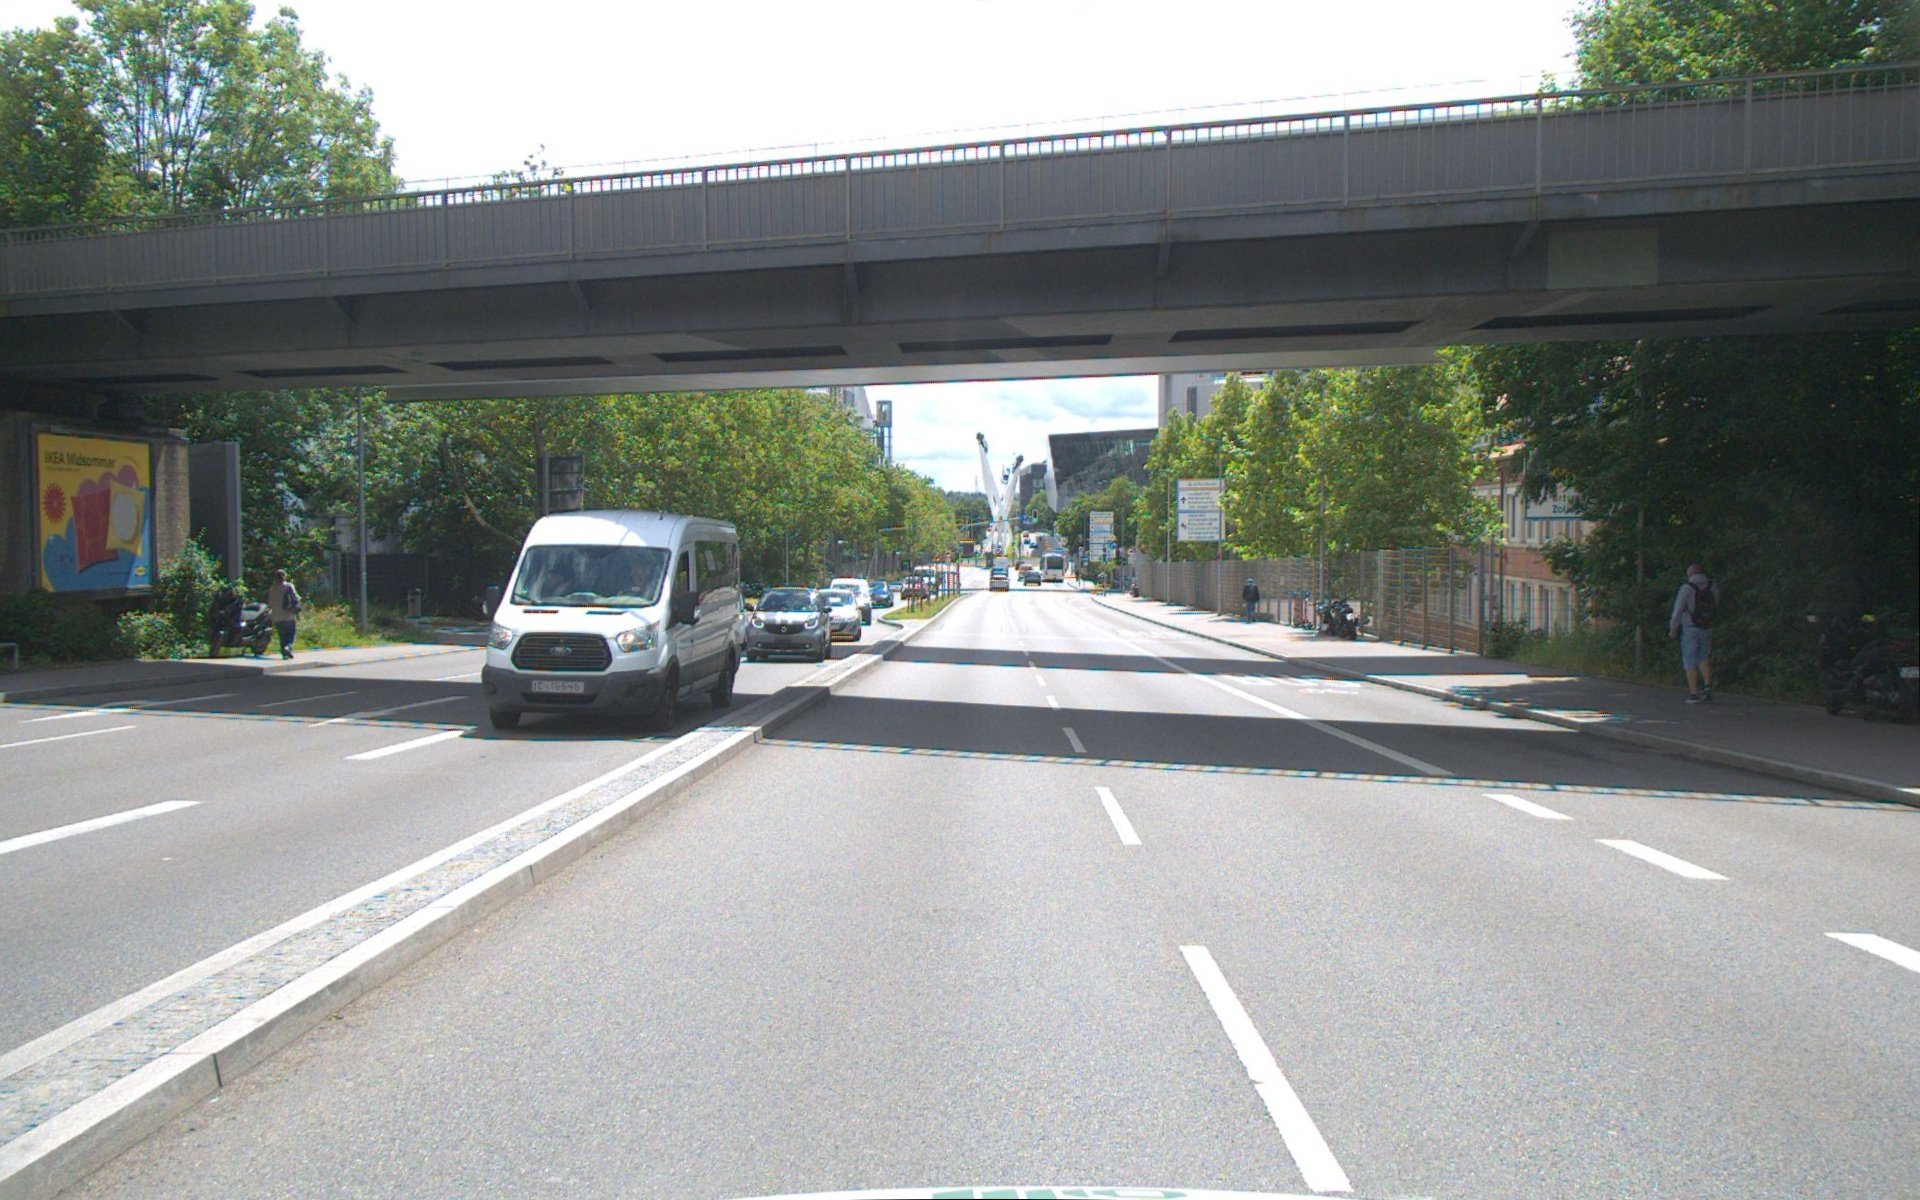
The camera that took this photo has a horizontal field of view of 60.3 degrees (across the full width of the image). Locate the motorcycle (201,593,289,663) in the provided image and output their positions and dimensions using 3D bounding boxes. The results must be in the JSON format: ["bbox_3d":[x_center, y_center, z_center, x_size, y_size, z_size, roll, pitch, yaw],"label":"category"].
[{"bbox_3d":[-13.178,0.533,30.552,0.673,1.231,2.072,2,-2,0],"label":"motorcycle"}]

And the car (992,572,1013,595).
[{"bbox_3d":[3.881,-1.508,152.002,1.889,1.802,4.003,0,4,2],"label":"car"}]

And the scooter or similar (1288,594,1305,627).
[{"bbox_3d":[12.142,0.381,59.720,0.361,1.197,1.133,0,0,0],"label":"scooter or similar"}]

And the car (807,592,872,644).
[{"bbox_3d":[-3.522,0.489,48.917,1.666,1.461,3.924,0,0,0],"label":"car"}]

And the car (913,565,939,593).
[{"bbox_3d":[-2.832,-1.736,139.807,1.952,2.295,4.327,0,0,2],"label":"car"}]

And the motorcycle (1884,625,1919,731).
[{"bbox_3d":[10.630,0.846,17.479,0.536,1.130,2.017,0,0,-2],"label":"motorcycle"}]

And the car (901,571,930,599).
[{"bbox_3d":[-3.298,-1.131,122.147,1.952,2.049,4.001,0,0,1],"label":"car"}]

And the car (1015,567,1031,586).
[{"bbox_3d":[7.916,-2.946,206.854,1.952,2.048,4.003,0,4,1],"label":"car"}]

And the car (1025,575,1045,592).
[{"bbox_3d":[8.296,-1.863,183.402,1.953,1.892,4.000,0,0,0],"label":"car"}]

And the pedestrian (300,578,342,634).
[{"bbox_3d":[-23.393,0.216,60.562,0.988,2.049,1.168,0,0,9],"label":"pedestrian"}]

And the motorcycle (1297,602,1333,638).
[{"bbox_3d":[11.332,0.624,52.875,0.552,1.047,2.629,-1,1,0],"label":"motorcycle"}]

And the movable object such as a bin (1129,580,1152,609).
[{"bbox_3d":[13.468,-0.415,123.467,1.629,2.170,1.279,0,0,6],"label":"movable object such as a bin"}]

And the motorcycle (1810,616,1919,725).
[{"bbox_3d":[10.870,0.803,19.607,0.536,1.219,1.902,0,0,-2],"label":"motorcycle"}]

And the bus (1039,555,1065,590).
[{"bbox_3d":[11.392,-3.480,205.948,2.739,3.816,9.474,0,4,0],"label":"bus"}]

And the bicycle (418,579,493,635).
[{"bbox_3d":[-19.938,0.247,65.386,2.704,2.048,1.036,-2,5,-23],"label":"bicycle"}]

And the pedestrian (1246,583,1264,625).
[{"bbox_3d":[11.971,0.153,67.159,0.608,1.646,0.747,0,4,0],"label":"pedestrian"}]

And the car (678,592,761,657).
[{"bbox_3d":[-6.092,0.592,42.229,1.666,1.578,3.922,0,0,-2],"label":"car"}]

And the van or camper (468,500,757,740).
[{"bbox_3d":[-3.933,0.195,20.032,1.966,2.443,6.400,0,0,2],"label":"van or camper"}]

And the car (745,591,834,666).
[{"bbox_3d":[-3.648,0.588,35.835,1.666,1.548,3.073,0,0,-1],"label":"car"}]

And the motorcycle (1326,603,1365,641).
[{"bbox_3d":[11.521,0.642,49.531,0.552,1.047,2.629,-1,1,0],"label":"motorcycle"}]

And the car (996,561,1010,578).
[{"bbox_3d":[5.959,-4.164,227.285,1.835,2.048,3.695,0,4,0],"label":"car"}]

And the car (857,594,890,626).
[{"bbox_3d":[-4.818,0.532,92.809,1.666,1.728,3.924,0,0,0],"label":"car"}]

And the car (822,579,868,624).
[{"bbox_3d":[-4.528,0.058,65.656,1.666,1.728,3.922,0,0,-2],"label":"car"}]

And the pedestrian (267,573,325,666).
[{"bbox_3d":[-12.412,0.357,30.922,0.710,1.650,0.721,4,3,-1],"label":"pedestrian"}]

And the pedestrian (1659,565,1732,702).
[{"bbox_3d":[10.350,0.470,23.283,0.610,1.891,0.872,0,-1,-1],"label":"pedestrian"}]
